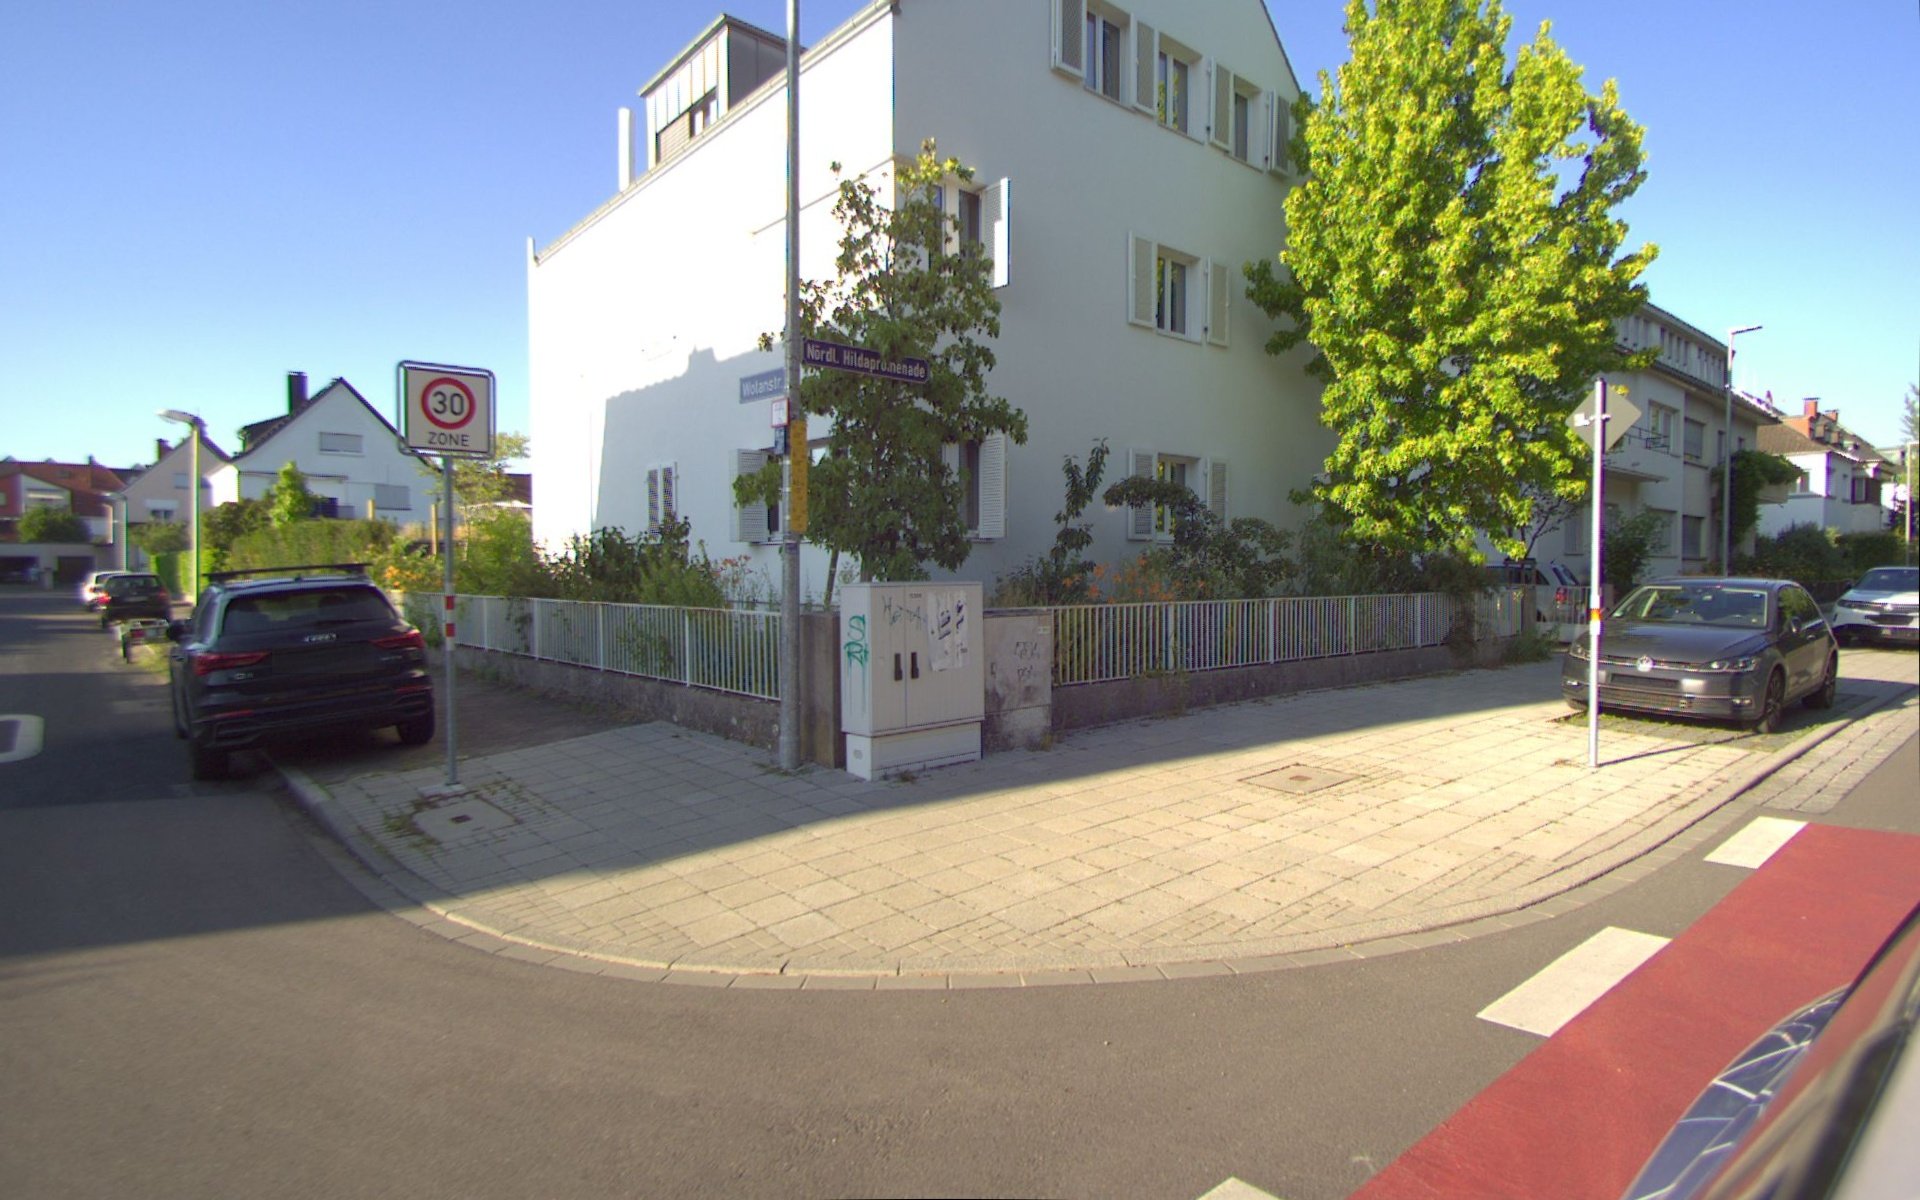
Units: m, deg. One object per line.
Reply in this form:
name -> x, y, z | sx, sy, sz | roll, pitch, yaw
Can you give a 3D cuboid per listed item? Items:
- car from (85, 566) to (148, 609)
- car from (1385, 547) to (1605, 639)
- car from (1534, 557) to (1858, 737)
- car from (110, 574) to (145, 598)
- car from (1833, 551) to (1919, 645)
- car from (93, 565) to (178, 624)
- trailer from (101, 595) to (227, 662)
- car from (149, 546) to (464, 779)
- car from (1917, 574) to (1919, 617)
car -> -33.338, -0.545, 40.000 | 1.770, 1.553, 4.388 | -3, 3, -40
car -> 11.826, -0.132, 22.511 | 3.983, 1.868, 1.786 | -1, 0, 45
car -> 7.923, 0.359, 10.763 | 4.050, 1.500, 1.798 | -1, 4, -40
car -> -59.345, -1.008, 72.132 | 1.771, 1.553, 4.387 | -3, 4, -41
car -> 19.535, -0.088, 20.562 | 4.493, 1.729, 1.911 | -1, 4, -39
car -> -24.253, -0.233, 29.743 | 1.770, 1.553, 4.388 | -3, 3, -40
trailer -> -15.118, 0.488, 19.188 | 1.647, 1.032, 2.613 | -3, 4, -43
car -> -6.342, 0.427, 9.611 | 1.862, 1.710, 4.095 | -3, 2, -42
car -> 28.229, -0.296, 28.206 | 4.121, 1.512, 1.798 | -2, 4, -41
